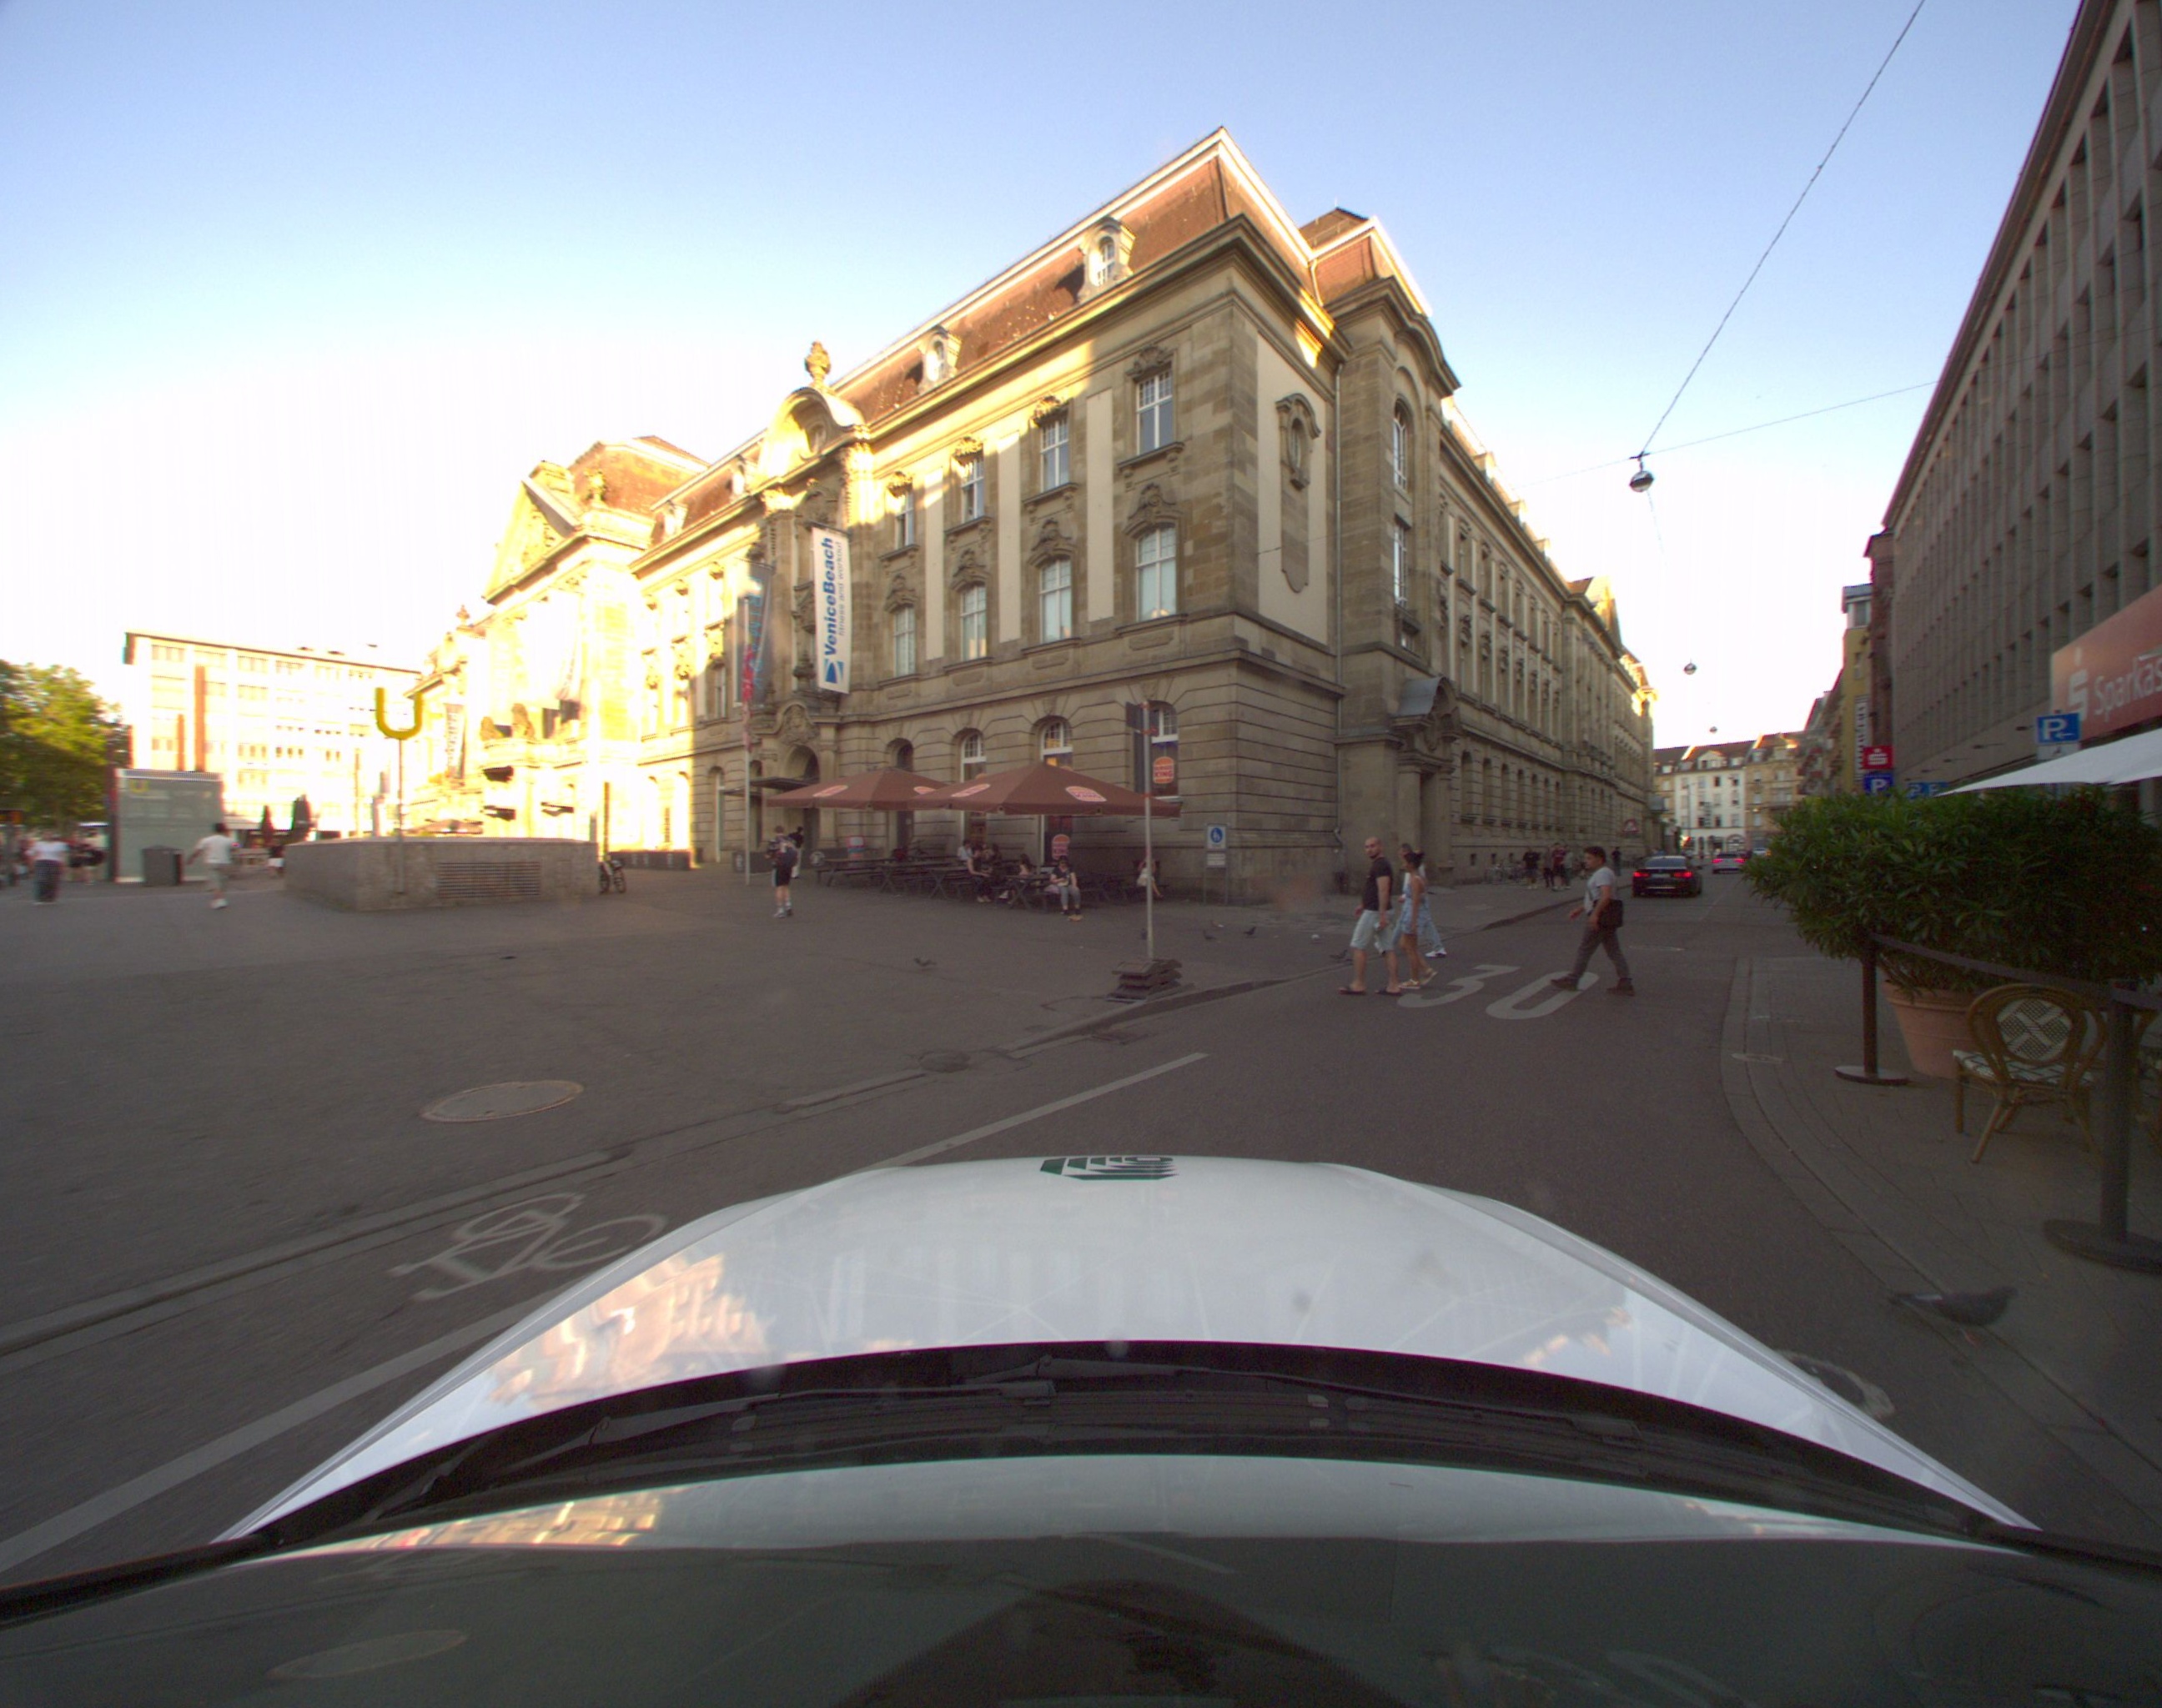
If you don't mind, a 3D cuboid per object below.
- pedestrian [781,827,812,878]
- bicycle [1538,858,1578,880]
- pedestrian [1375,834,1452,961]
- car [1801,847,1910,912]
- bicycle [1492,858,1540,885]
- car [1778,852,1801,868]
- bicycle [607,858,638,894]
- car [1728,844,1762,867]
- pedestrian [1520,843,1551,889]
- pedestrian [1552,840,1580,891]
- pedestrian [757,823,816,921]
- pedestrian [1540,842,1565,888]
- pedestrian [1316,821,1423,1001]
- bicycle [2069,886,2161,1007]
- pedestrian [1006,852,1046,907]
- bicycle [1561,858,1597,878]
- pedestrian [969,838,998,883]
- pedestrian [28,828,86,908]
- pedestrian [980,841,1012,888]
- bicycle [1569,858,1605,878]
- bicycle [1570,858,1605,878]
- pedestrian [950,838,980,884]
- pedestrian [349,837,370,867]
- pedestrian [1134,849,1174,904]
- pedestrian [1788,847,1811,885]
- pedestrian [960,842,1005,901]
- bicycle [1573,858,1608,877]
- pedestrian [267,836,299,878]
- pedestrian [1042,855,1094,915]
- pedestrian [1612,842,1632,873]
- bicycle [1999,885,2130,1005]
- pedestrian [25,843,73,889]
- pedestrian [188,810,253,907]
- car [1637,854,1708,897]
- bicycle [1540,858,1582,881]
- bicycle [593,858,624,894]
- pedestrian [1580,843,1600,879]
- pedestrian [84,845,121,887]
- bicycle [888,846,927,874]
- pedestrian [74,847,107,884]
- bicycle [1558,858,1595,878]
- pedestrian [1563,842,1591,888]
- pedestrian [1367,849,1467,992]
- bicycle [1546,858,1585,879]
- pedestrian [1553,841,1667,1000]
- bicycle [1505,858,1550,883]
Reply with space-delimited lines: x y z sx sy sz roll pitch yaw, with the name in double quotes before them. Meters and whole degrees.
"pedestrian" -8.894 -0.057 25.463 0.849 1.565 0.846 1 1 -16
"bicycle" 24.255 0.746 41.440 1.663 1.041 0.490 2 1 39
"pedestrian" 5.132 0.631 12.563 0.863 1.839 0.873 3 2 35
"car" 21.880 0.635 23.163 1.753 1.636 4.116 2 2 37
"bicycle" 18.061 0.700 33.844 0.490 1.041 1.664 0 1 -44
"car" 72.563 0.599 83.457 1.628 1.523 3.305 2 2 40
"bicycle" -11.640 0.554 20.663 0.987 0.867 0.318 0 1 39
"car" 45.756 0.070 56.149 1.777 1.510 4.025 0 0 39
"pedestrian" 17.030 0.443 30.532 0.790 1.674 0.981 4 2 38
"pedestrian" 17.817 0.402 29.921 0.691 1.811 0.981 4 2 38
"pedestrian" -5.691 0.323 15.737 0.796 1.823 0.816 1 1 45
"pedestrian" 18.352 0.414 31.684 0.682 1.752 0.726 4 2 38
"pedestrian" 3.166 0.587 8.933 0.863 1.840 0.811 0 -1 40
"bicycle" 10.372 0.865 7.999 0.553 1.041 1.695 -3 -1 41
"pedestrian" -1.298 0.590 19.089 0.620 1.226 0.693 1 1 -35
"bicycle" 27.657 0.771 45.238 1.663 1.041 0.490 2 1 39
"pedestrian" -2.928 0.201 24.415 0.574 1.308 0.597 3 1 38
"pedestrian" -24.197 0.304 19.241 0.928 1.823 0.780 0 1 37
"pedestrian" -2.439 0.299 23.311 0.601 1.308 0.613 3 1 36
"bicycle" 28.665 0.777 46.142 1.663 1.041 0.490 2 1 39
"bicycle" 28.933 0.780 46.526 1.663 1.041 0.490 2 1 39
"pedestrian" -3.413 0.198 23.956 0.574 1.308 0.597 3 1 36
"pedestrian" -43.805 -0.119 49.444 0.839 1.824 0.780 0 0 37
"pedestrian" 1.803 0.546 20.271 0.666 1.308 0.767 0 4 -25
"pedestrian" 34.273 0.574 38.847 0.827 1.791 0.718 0 0 -40
"pedestrian" -2.385 0.418 19.719 0.810 1.383 0.645 1 2 -39
"bicycle" 29.737 0.787 47.542 1.663 1.041 0.490 2 1 39
"pedestrian" -35.281 0.113 36.011 0.777 1.823 0.842 0 0 -29
"pedestrian" -0.289 0.663 17.954 0.784 1.242 0.819 1 1 -36
"pedestrian" 31.202 0.198 46.968 0.796 1.752 0.815 4 2 38
"bicycle" 9.976 0.868 8.312 0.553 1.041 1.695 -3 -1 41
"pedestrian" -38.016 0.441 30.015 0.790 1.661 0.769 0 0 0
"pedestrian" -18.422 0.099 17.462 0.776 2.014 0.907 1 -1 -36
"car" 20.819 0.712 28.600 1.753 1.409 4.077 -1 -1 39
"bicycle" 22.606 0.725 38.364 1.663 1.041 0.490 2 1 39
"bicycle" -11.852 0.552 20.412 0.987 0.867 0.318 0 1 39
"pedestrian" 25.932 0.351 41.475 0.712 1.752 0.673 4 2 38
"pedestrian" -38.936 0.459 32.410 0.798 1.661 0.760 0 0 -38
"bicycle" -5.808 0.196 27.323 0.405 0.894 1.330 1 2 36
"pedestrian" -44.972 0.493 36.982 0.798 1.661 0.760 0 0 -38
"bicycle" 27.317 0.769 44.926 1.663 1.041 0.490 2 1 39
"pedestrian" 19.234 0.413 31.567 0.779 1.752 0.726 4 2 38
"pedestrian" 3.950 0.737 9.570 0.863 1.581 0.811 0 -1 40
"bicycle" 25.168 0.752 42.341 1.663 1.041 0.490 2 1 39
"pedestrian" 5.844 0.696 9.007 0.736 1.646 0.862 1 -1 -39
"bicycle" 19.771 0.710 36.100 1.664 1.041 0.490 2 1 23
